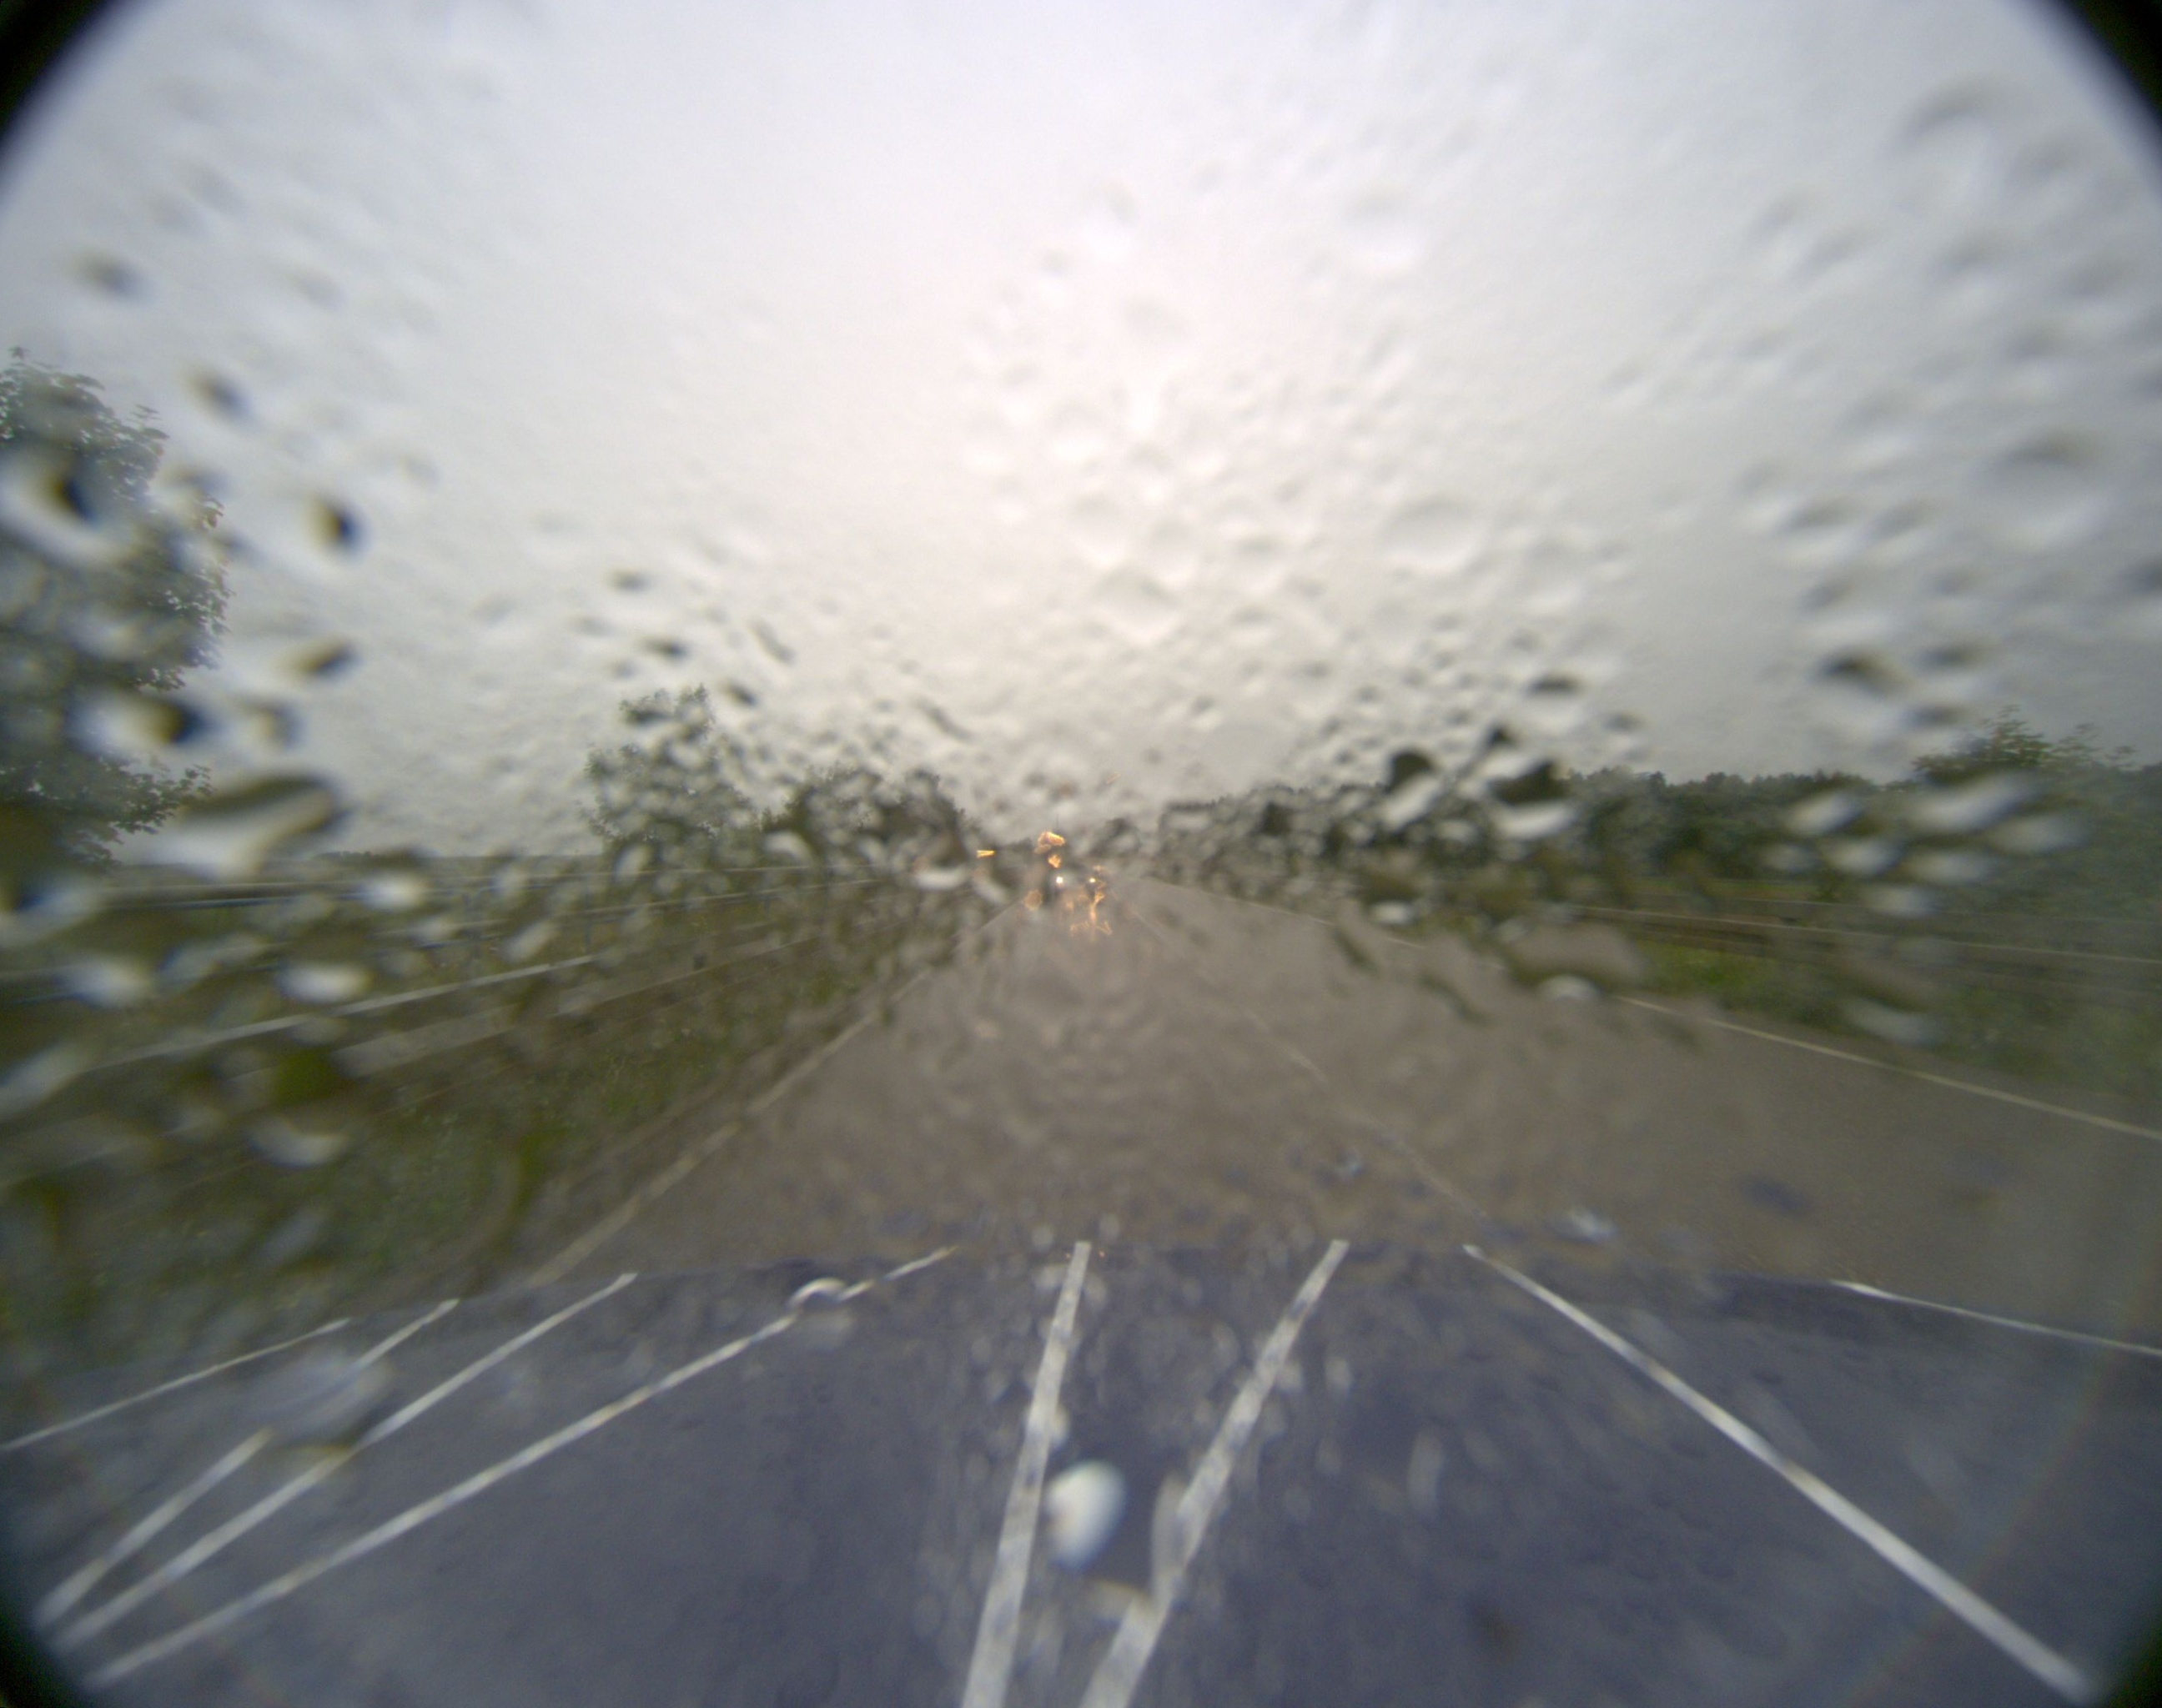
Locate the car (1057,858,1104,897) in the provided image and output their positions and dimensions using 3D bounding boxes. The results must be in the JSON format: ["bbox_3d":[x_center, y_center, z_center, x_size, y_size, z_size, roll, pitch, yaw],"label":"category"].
[{"bbox_3d":[-0.050,0.966,32.587,1.819,1.382,4.068,-3,1,0],"label":"car"}]
